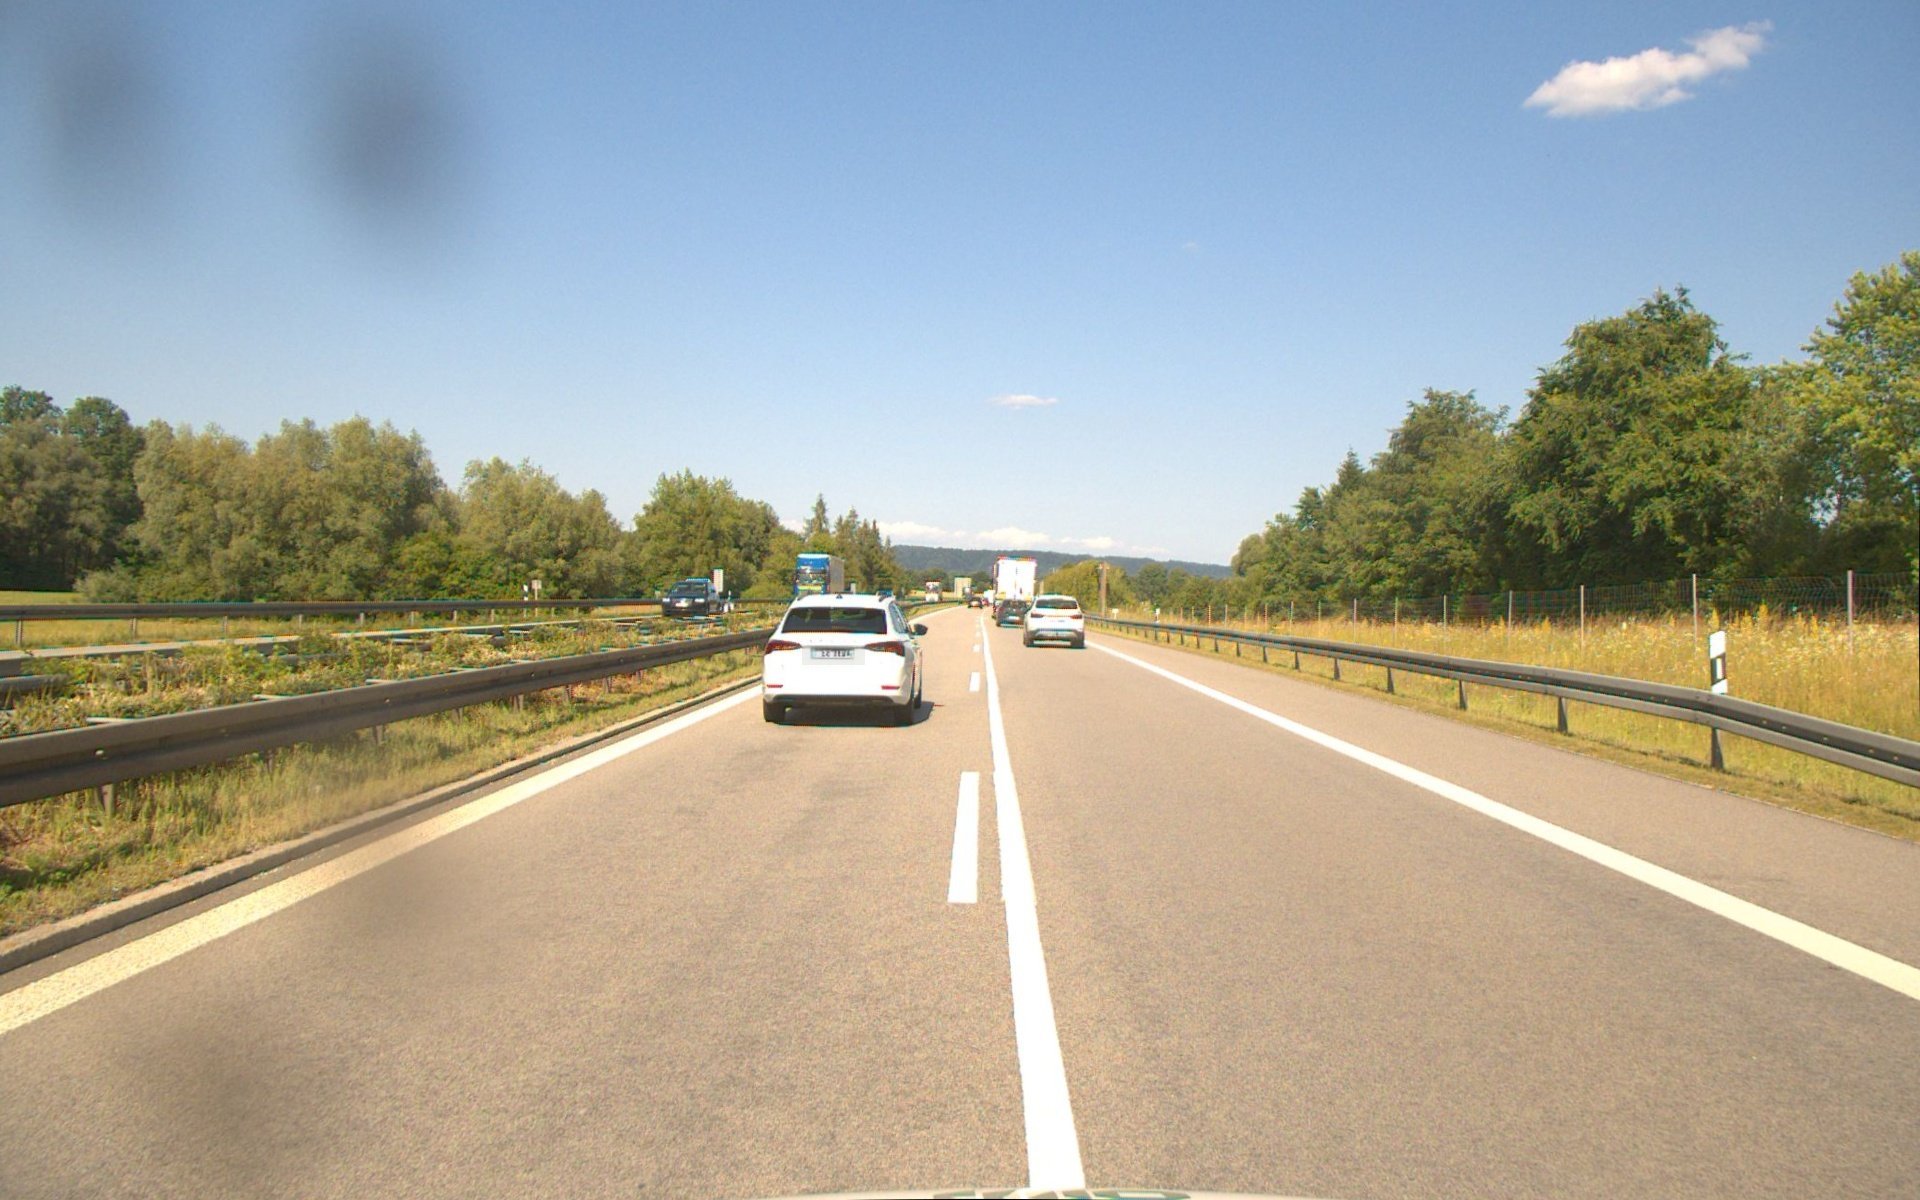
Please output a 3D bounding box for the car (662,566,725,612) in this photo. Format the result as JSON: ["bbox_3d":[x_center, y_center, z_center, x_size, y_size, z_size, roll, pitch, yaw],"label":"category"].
[{"bbox_3d":[-11.188,-0.461,69.808,1.811,1.835,4.871,0,0,1],"label":"car"}]

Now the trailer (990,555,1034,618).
[{"bbox_3d":[3.548,-0.890,113.402,2.760,4.036,14.163,1,0,2],"label":"trailer"}]

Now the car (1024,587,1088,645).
[{"bbox_3d":[2.895,0.442,50.607,1.650,1.521,4.988,4,1,1],"label":"car"}]

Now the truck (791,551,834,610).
[{"bbox_3d":[-11.340,-1.491,127.377,2.684,4.378,6.334,1,0,0],"label":"truck"}]

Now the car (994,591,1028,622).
[{"bbox_3d":[2.603,0.321,84.778,1.631,1.479,4.545,3,0,1],"label":"car"}]

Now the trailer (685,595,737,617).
[{"bbox_3d":[-11.158,0.252,74.307,1.706,0.953,4.020,1,0,0],"label":"trailer"}]

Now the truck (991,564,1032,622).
[{"bbox_3d":[3.721,-0.488,120.141,2.782,4.036,7.045,1,0,1],"label":"truck"}]

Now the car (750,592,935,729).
[{"bbox_3d":[-1.317,0.642,20.554,1.802,1.446,5.255,1,0,1],"label":"car"}]

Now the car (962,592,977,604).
[{"bbox_3d":[1.187,-0.222,206.384,1.735,1.445,4.495,3,0,0],"label":"car"}]

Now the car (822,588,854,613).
[{"bbox_3d":[-7.605,0.026,103.412,1.646,1.485,4.925,-1,0,0],"label":"car"}]

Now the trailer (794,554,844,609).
[{"bbox_3d":[-11.324,-1.444,134.348,2.730,4.233,14.393,1,0,0],"label":"trailer"}]

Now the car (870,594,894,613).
[{"bbox_3d":[-7.082,0.288,150.006,1.953,1.694,4.633,0,0,0],"label":"car"}]
